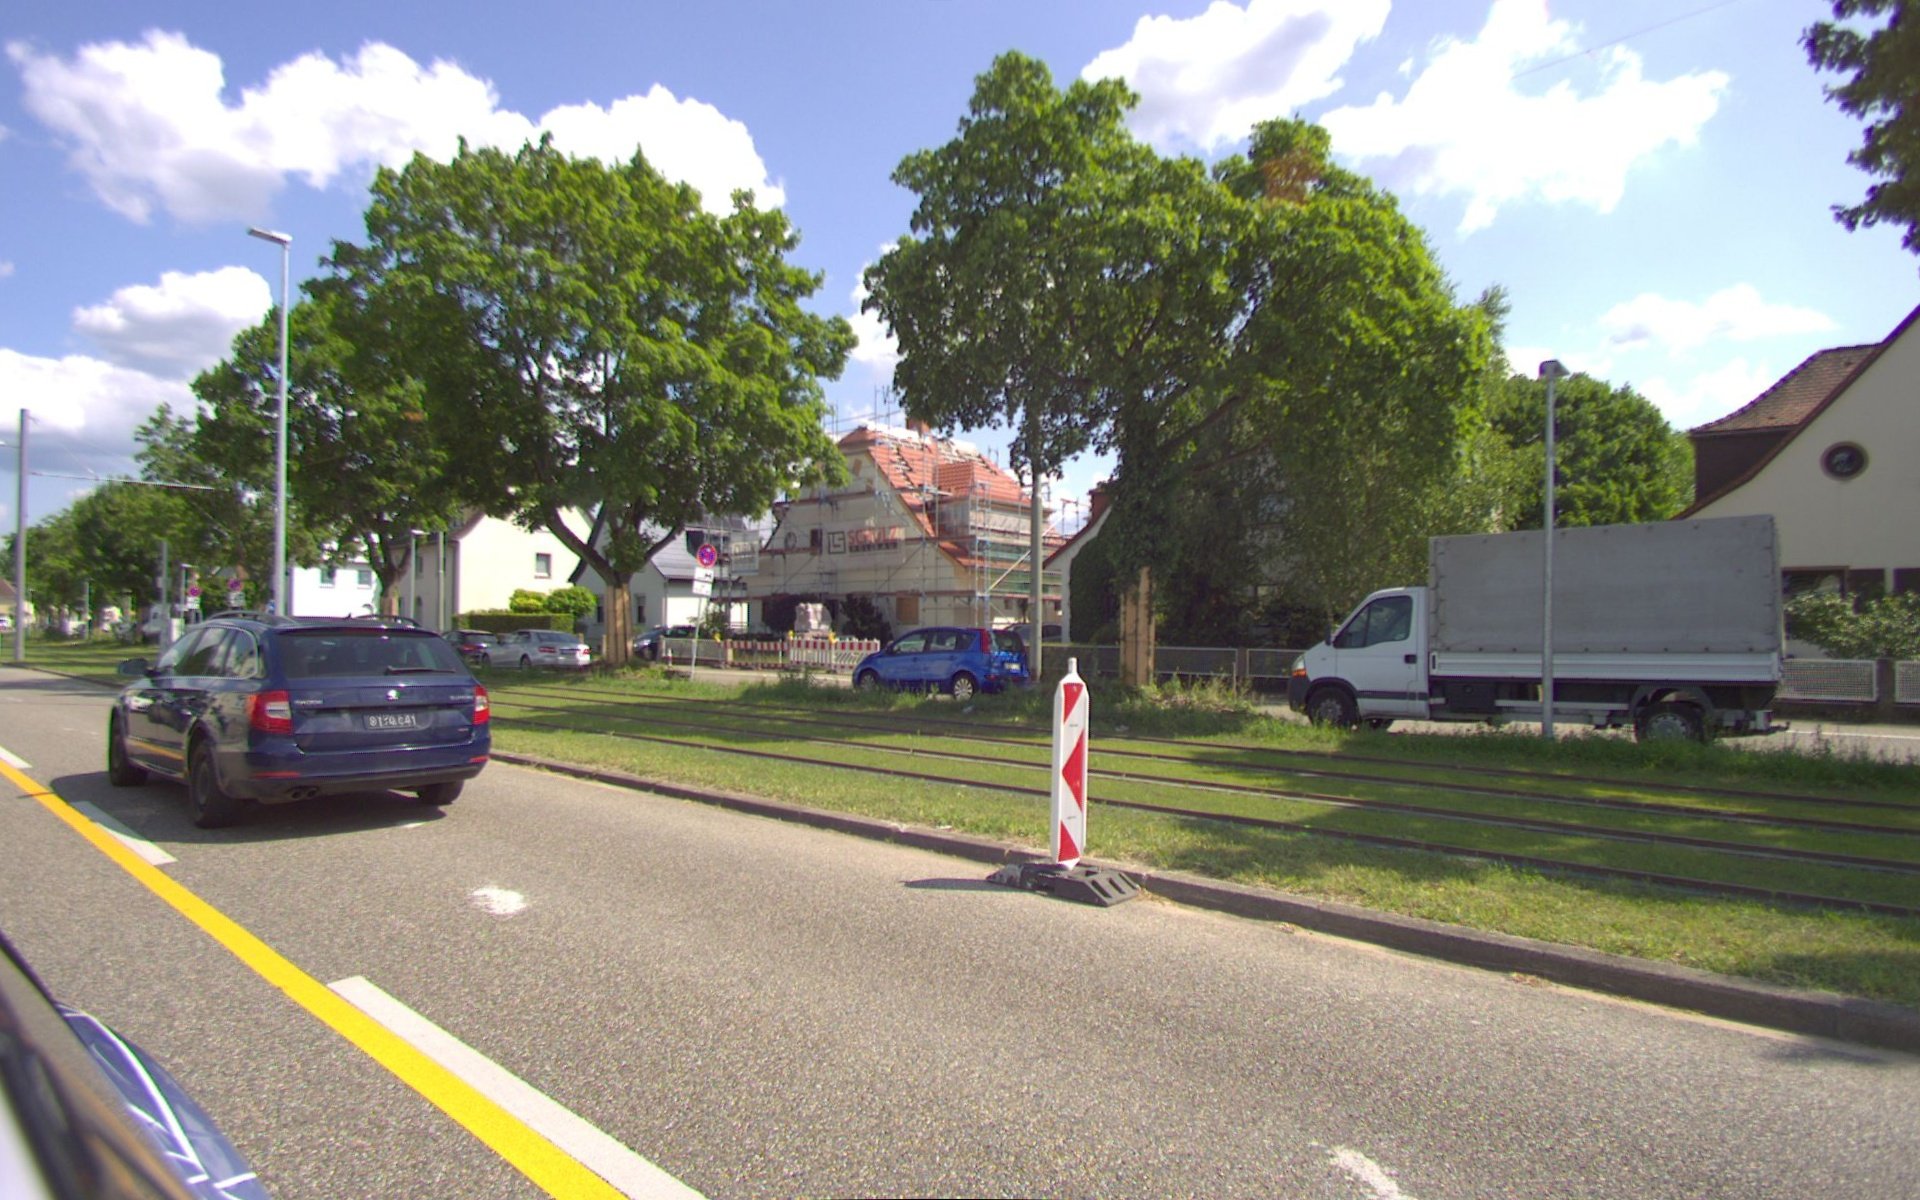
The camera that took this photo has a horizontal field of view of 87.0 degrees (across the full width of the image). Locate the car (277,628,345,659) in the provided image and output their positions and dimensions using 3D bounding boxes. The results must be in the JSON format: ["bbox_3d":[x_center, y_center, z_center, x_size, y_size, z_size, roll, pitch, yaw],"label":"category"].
[{"bbox_3d":[-29.938,1.972,46.661,3.998,1.311,1.615,-1,0,41],"label":"car"}]

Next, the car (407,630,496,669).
[{"bbox_3d":[-18.485,1.752,36.713,3.785,1.251,1.604,-1,0,41],"label":"car"}]

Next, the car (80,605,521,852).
[{"bbox_3d":[-5.549,0.852,8.265,4.532,1.498,1.694,-1,-3,39],"label":"car"}]

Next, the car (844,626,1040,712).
[{"bbox_3d":[-0.424,1.337,20.756,3.929,1.524,1.651,-1,0,41],"label":"car"}]

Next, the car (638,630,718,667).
[{"bbox_3d":[-12.018,2.049,43.094,3.190,1.393,1.492,-1,0,-19],"label":"car"}]

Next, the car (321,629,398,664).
[{"bbox_3d":[-25.392,1.931,42.752,3.998,1.311,1.615,-1,0,41],"label":"car"}]

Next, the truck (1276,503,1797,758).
[{"bbox_3d":[7.747,0.356,14.078,5.948,2.826,2.340,-1,0,41],"label":"truck"}]

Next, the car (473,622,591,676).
[{"bbox_3d":[-13.757,1.518,32.397,4.522,1.524,1.685,-1,0,41],"label":"car"}]
